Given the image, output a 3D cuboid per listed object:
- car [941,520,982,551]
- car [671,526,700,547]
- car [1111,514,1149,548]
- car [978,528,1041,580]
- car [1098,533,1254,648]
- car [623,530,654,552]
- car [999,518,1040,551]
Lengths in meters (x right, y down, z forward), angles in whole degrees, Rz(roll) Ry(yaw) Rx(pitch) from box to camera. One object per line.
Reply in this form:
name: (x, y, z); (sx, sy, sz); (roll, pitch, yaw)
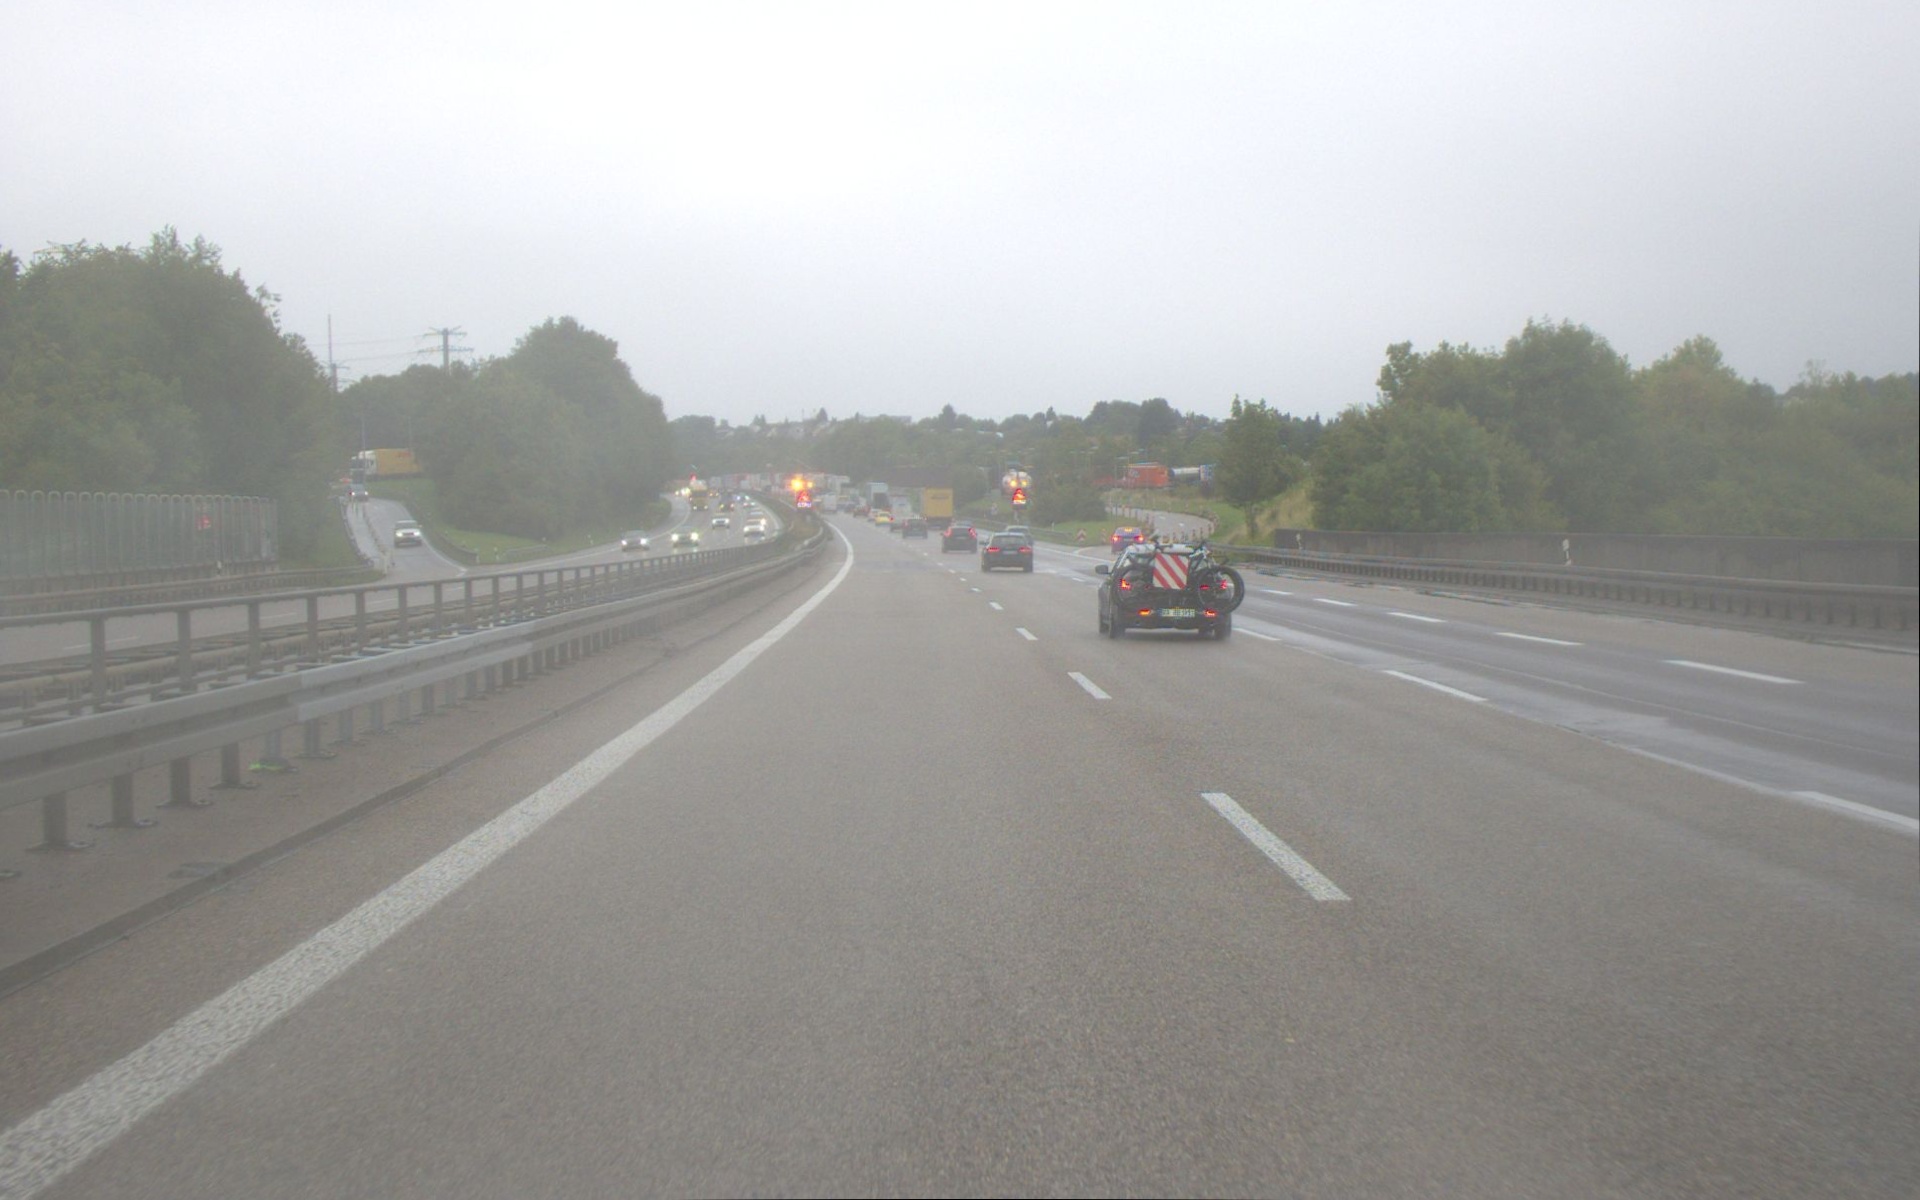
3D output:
car: (0.078, -3.517, 186.959); (1.993, 1.623, 4.001); (-2, 2, -3)
car: (-20.305, -4.691, 254.548); (1.816, 1.432, 4.089); (-2, 1, -1)
car: (9.108, -3.714, 183.956); (1.922, 1.703, 4.000); (-2, 2, 4)
car: (1.796, -1.697, 125.538); (1.993, 1.755, 4.001); (-2, 2, -3)
car: (3.245, -0.179, 52.631); (2.058, 1.665, 5.522); (0, 1, 0)
car: (-22.601, -4.155, 241.818); (1.816, 1.384, 4.089); (-2, 1, -1)
car: (3.363, -3.701, 194.887); (1.993, 1.755, 4.001); (-2, 2, -3)
